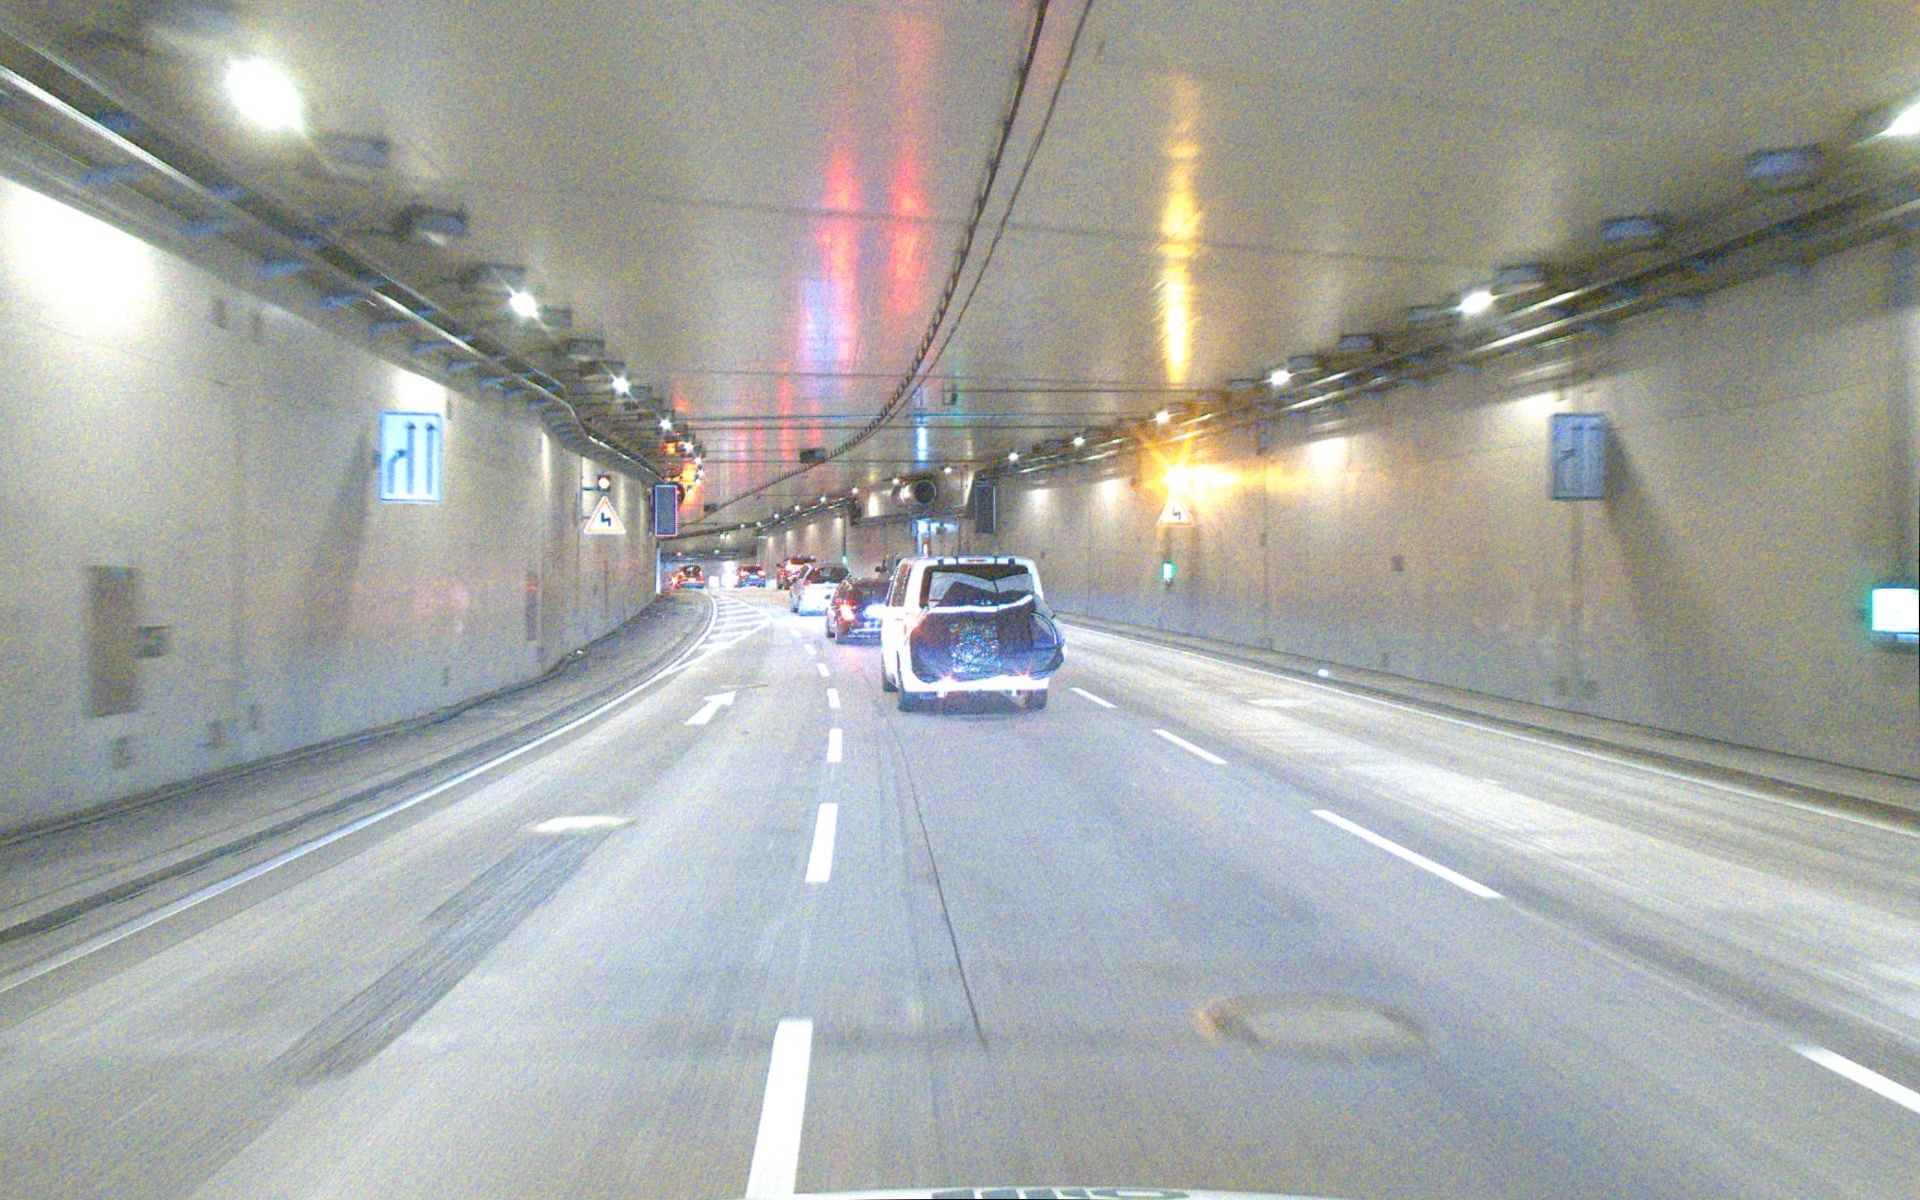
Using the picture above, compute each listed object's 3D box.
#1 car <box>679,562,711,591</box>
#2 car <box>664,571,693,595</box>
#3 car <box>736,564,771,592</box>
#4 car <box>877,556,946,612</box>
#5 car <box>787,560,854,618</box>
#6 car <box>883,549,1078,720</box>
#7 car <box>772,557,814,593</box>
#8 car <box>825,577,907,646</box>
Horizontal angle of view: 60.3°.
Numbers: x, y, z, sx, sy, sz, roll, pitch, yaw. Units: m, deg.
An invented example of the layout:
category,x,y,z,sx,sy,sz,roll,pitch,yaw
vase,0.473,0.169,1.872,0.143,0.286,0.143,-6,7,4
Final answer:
category,x,y,z,sx,sy,sz,roll,pitch,yaw
car,-16.827,-1.470,104.879,1.790,1.659,3.831,1,-1,-12
car,-20.790,-1.227,121.997,1.791,1.659,3.829,1,-1,-14
car,-13.082,-1.401,104.663,1.791,1.659,3.829,1,-1,-14
car,-1.709,-0.515,56.697,1.838,1.792,3.991,1,-1,-9
car,-4.284,-0.352,50.565,1.574,1.621,3.346,4,0,-12
car,0.116,0.354,21.200,1.955,1.879,5.296,-1,1,-5
car,-8.227,-1.201,81.170,1.576,1.659,3.343,1,-1,-14
car,-2.113,0.226,36.627,1.572,1.419,3.272,0,1,-8
